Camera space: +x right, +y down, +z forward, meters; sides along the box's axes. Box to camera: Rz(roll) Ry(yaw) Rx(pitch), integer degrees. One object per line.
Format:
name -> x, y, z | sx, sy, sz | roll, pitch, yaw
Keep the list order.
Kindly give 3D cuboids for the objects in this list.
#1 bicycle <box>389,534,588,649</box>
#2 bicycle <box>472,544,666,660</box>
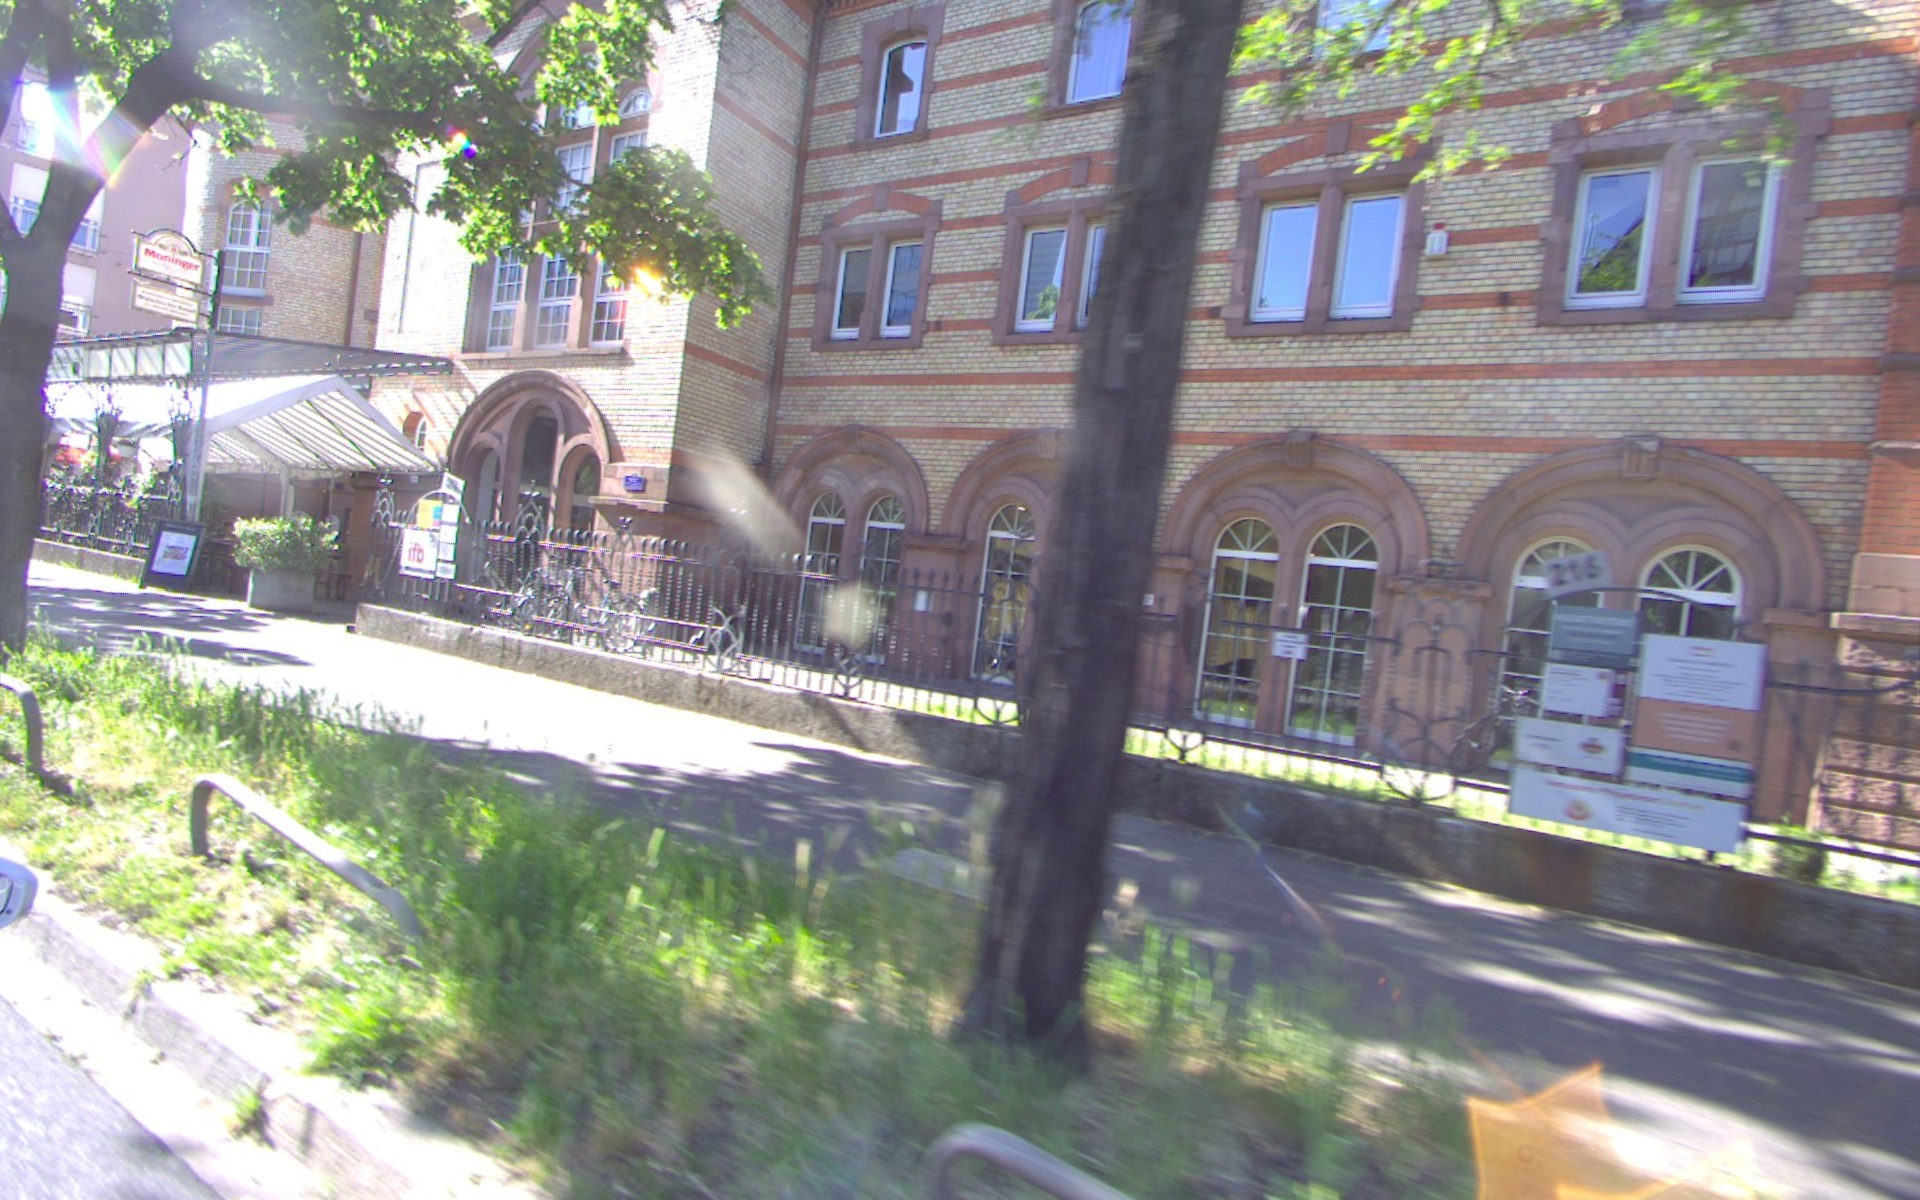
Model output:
bicycle -> -5.723, -0.055, 12.382 | 0.675, 1.193, 2.201 | 6, -1, 26
bicycle -> -4.593, 0.070, 12.030 | 0.675, 1.193, 2.201 | 6, -1, 26
